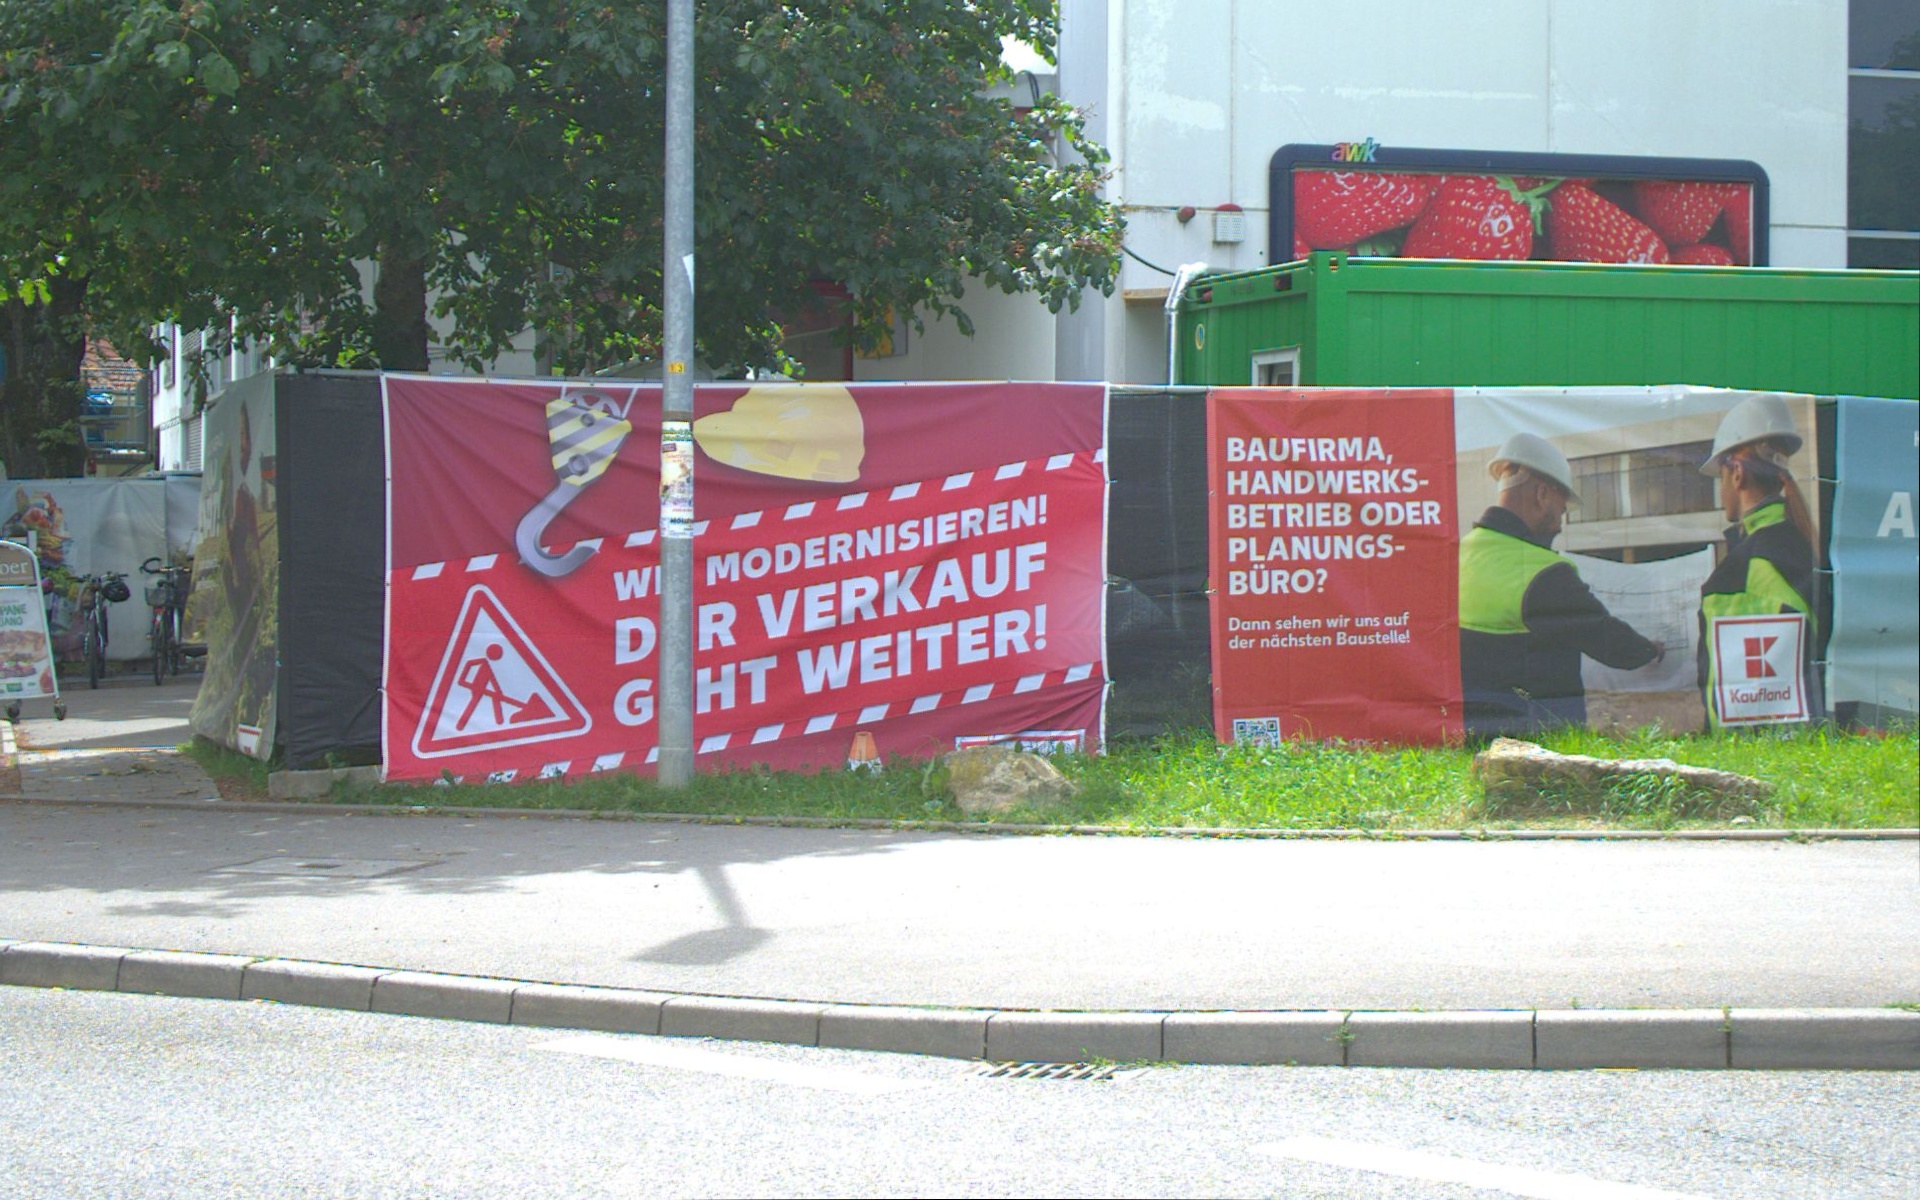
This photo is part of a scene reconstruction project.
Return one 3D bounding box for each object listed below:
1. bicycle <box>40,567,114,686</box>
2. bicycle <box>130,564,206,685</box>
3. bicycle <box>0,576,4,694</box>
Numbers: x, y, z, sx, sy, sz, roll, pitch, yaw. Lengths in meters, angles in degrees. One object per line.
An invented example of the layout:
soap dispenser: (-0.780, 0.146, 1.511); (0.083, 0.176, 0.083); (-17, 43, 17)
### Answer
bicycle: (-8.450, 0.238, 32.936); (0.629, 1.046, 1.970); (1, 1, -14)
bicycle: (-7.547, 0.220, 32.817); (0.629, 1.060, 1.970); (2, 1, -11)
bicycle: (-9.441, 0.312, 32.861); (0.540, 1.046, 1.970); (2, 1, -16)
